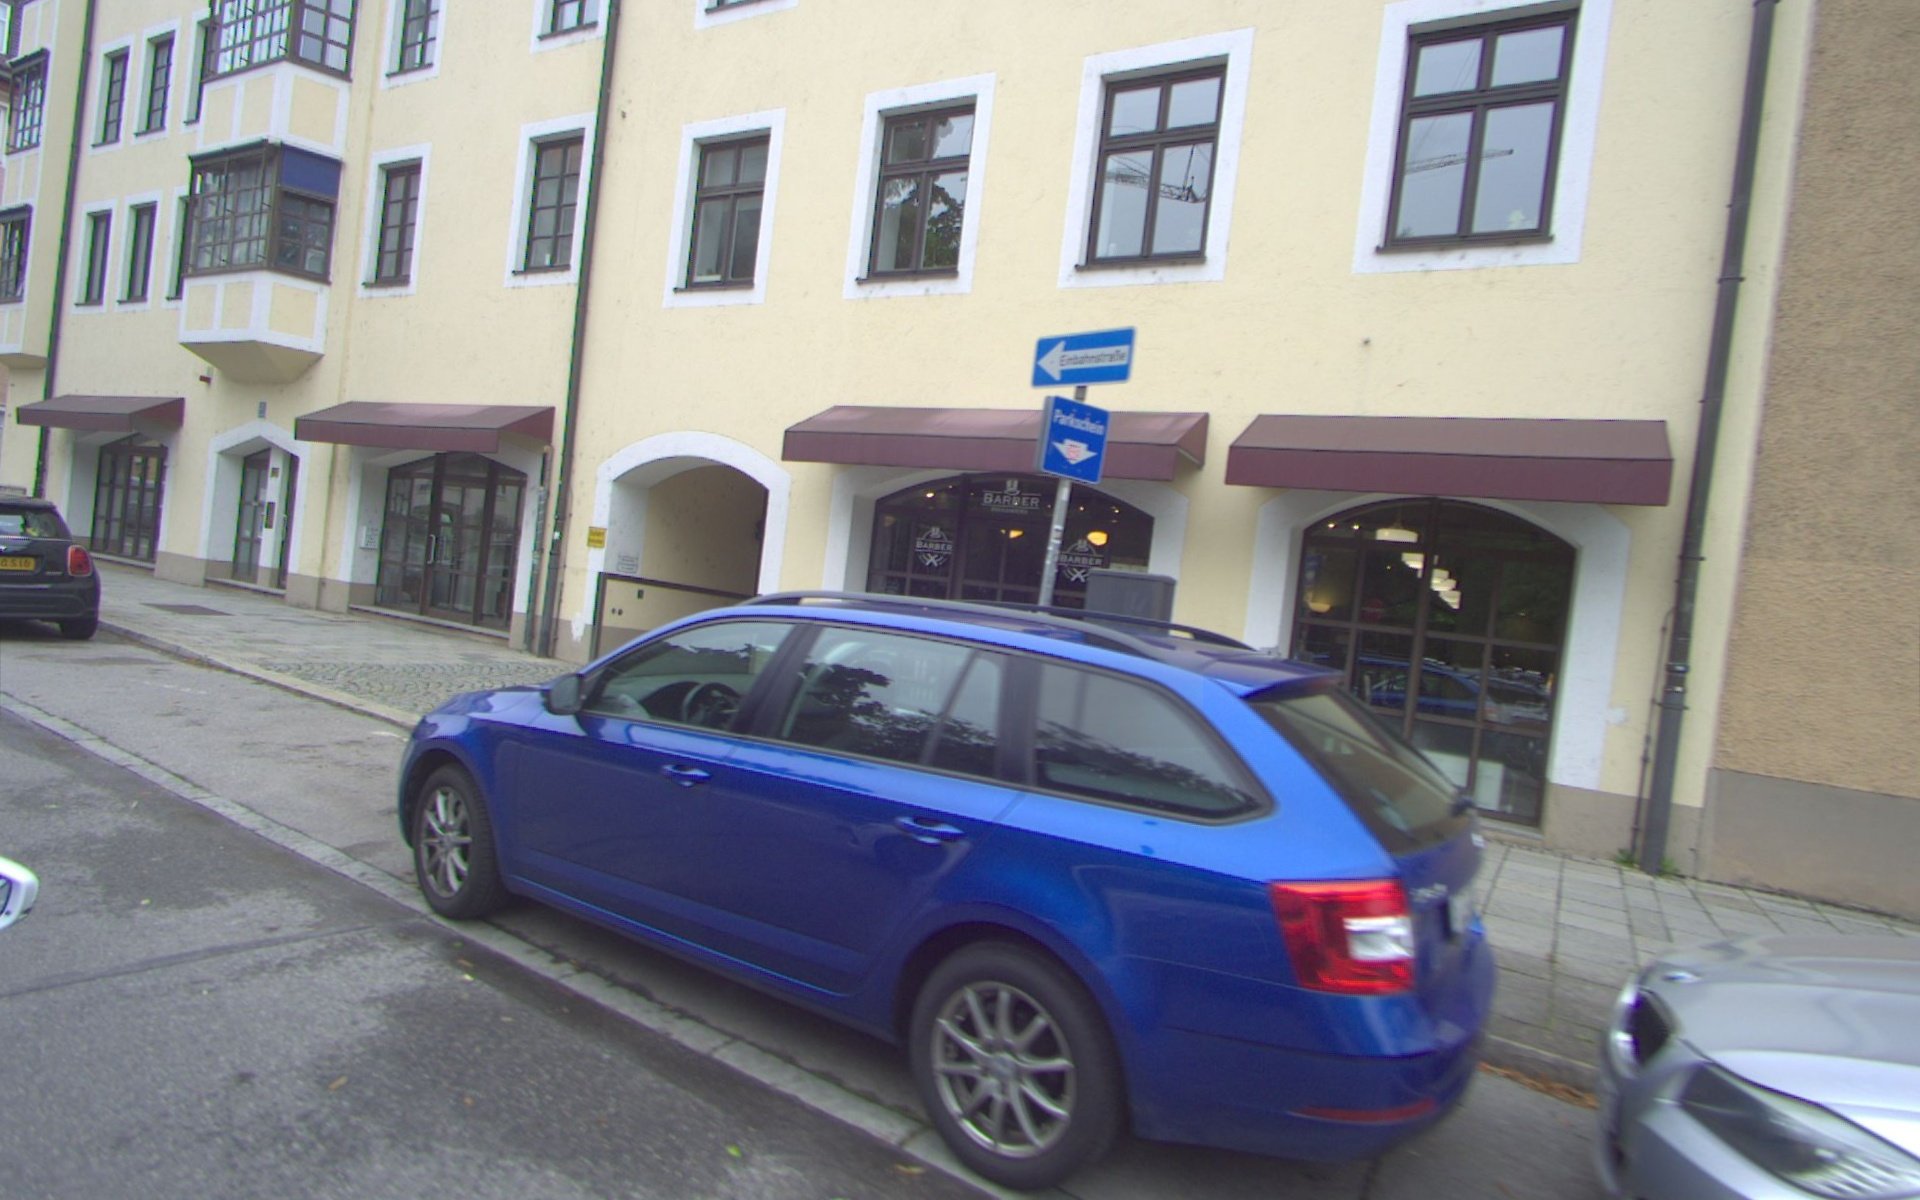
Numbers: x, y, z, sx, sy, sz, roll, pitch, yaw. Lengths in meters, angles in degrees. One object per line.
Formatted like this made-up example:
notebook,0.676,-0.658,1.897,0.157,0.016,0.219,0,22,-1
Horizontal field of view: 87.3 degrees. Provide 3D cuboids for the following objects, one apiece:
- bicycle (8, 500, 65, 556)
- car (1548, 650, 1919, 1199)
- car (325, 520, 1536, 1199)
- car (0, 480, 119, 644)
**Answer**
bicycle,-18.994,-1.488,20.679,1.655,0.989,0.271,7,0,29
car,3.504,1.119,1.535,4.360,1.516,1.691,7,2,32
car,-0.397,0.679,3.945,4.413,1.516,1.757,7,2,32
car,-10.603,-0.542,10.555,3.762,1.516,1.756,7,2,35
